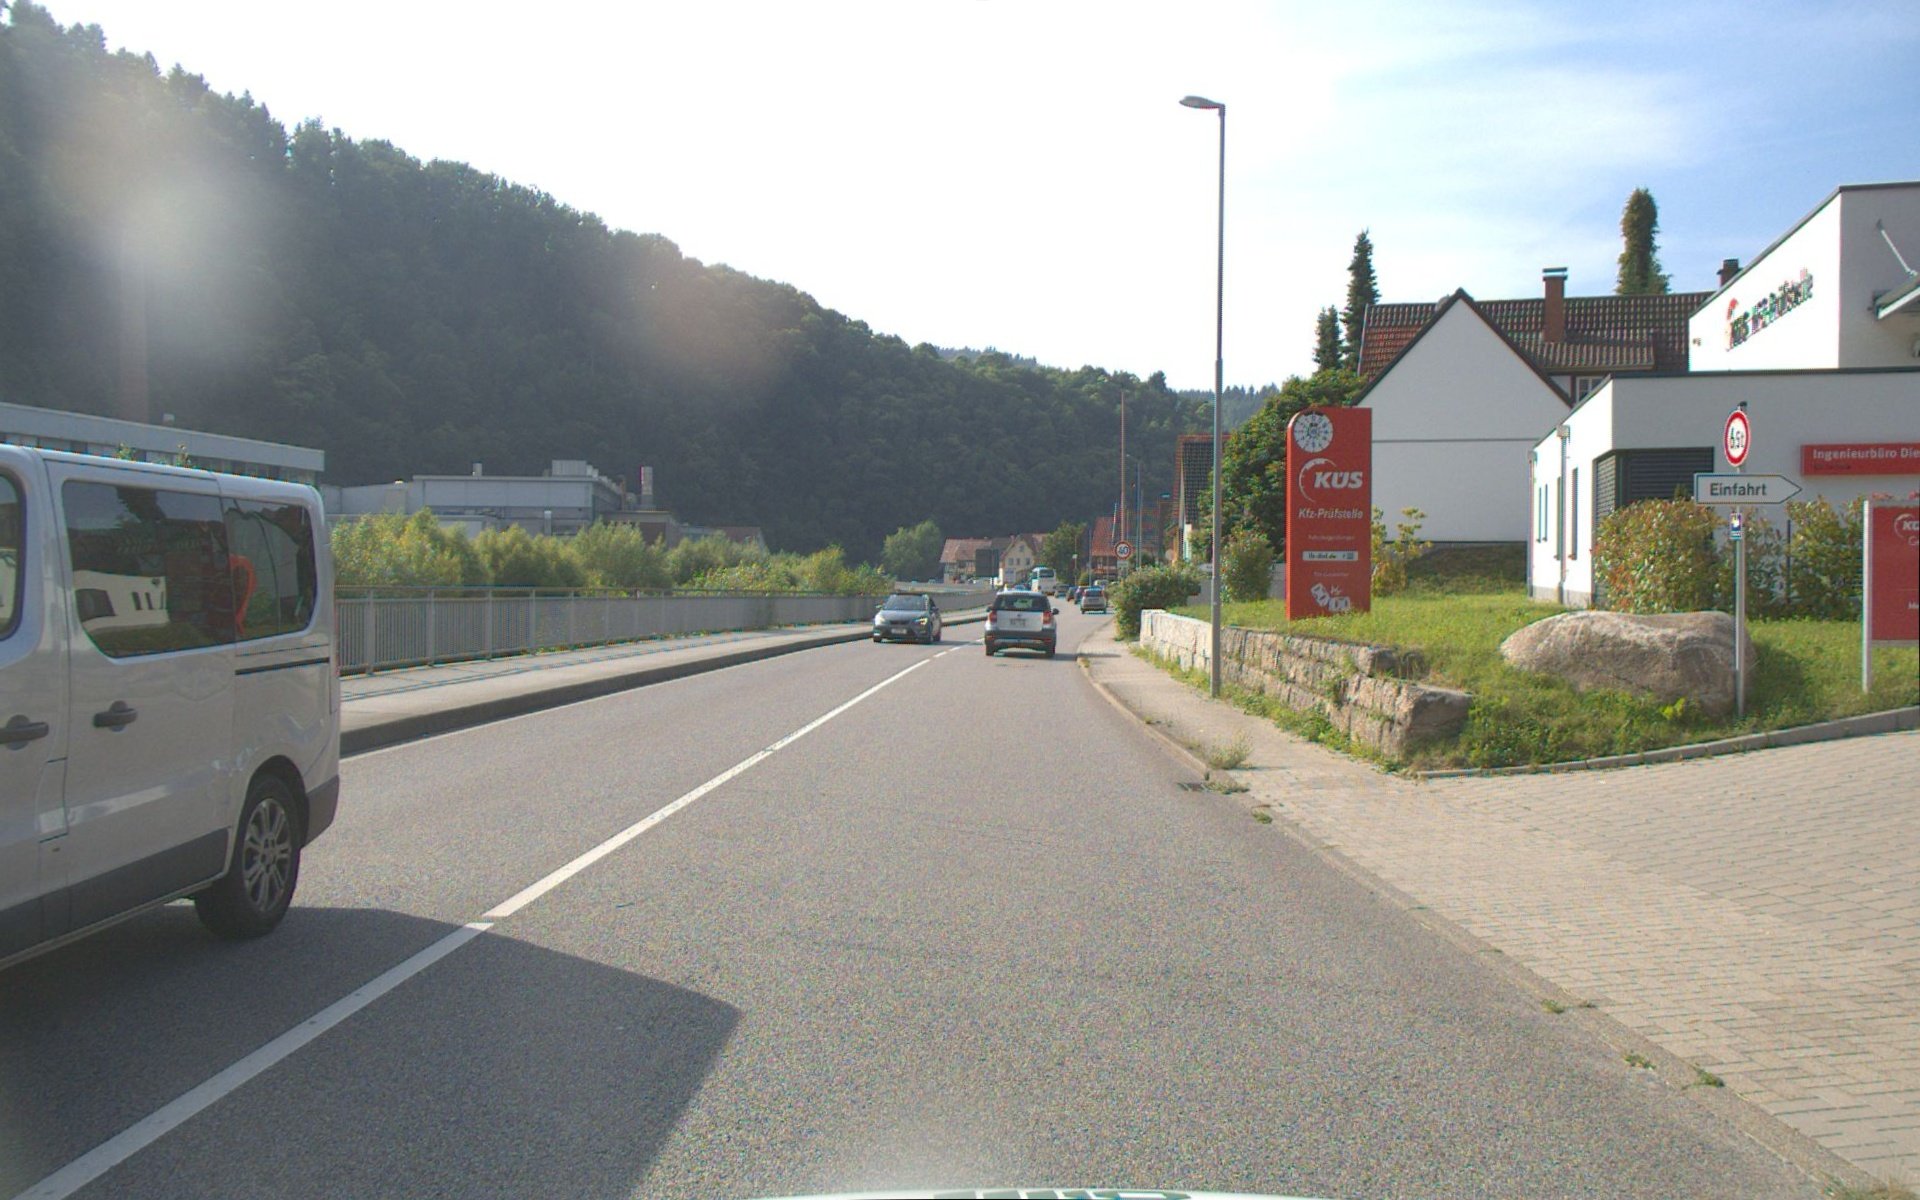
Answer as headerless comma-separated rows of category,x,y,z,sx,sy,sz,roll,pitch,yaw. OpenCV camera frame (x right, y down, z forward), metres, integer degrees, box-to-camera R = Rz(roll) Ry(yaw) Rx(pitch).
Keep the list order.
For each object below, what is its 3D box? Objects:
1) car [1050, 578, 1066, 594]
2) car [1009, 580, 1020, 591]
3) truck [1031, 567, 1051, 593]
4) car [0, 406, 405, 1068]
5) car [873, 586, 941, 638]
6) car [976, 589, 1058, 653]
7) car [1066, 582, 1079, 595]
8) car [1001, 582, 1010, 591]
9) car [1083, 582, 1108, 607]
car,11.673,-1.675,196.894,1.639,1.783,3.451,1,2,6
car,7.423,-2.042,226.366,1.403,1.407,3.136,0,2,1
truck,11.167,-2.828,226.843,2.672,3.433,6.481,0,1,3
car,-3.814,0.424,5.607,1.880,2.002,5.148,-1,0,3
car,-1.575,0.376,50.741,1.775,1.510,4.799,0,0,2
car,1.533,0.504,42.894,1.821,1.571,4.376,1,0,6
car,11.603,-1.189,170.698,1.336,1.300,3.084,0,0,4
car,6.980,-2.096,256.129,1.336,1.300,3.084,0,0,2
car,8.781,-0.370,107.213,1.588,1.568,3.280,0,-1,5
